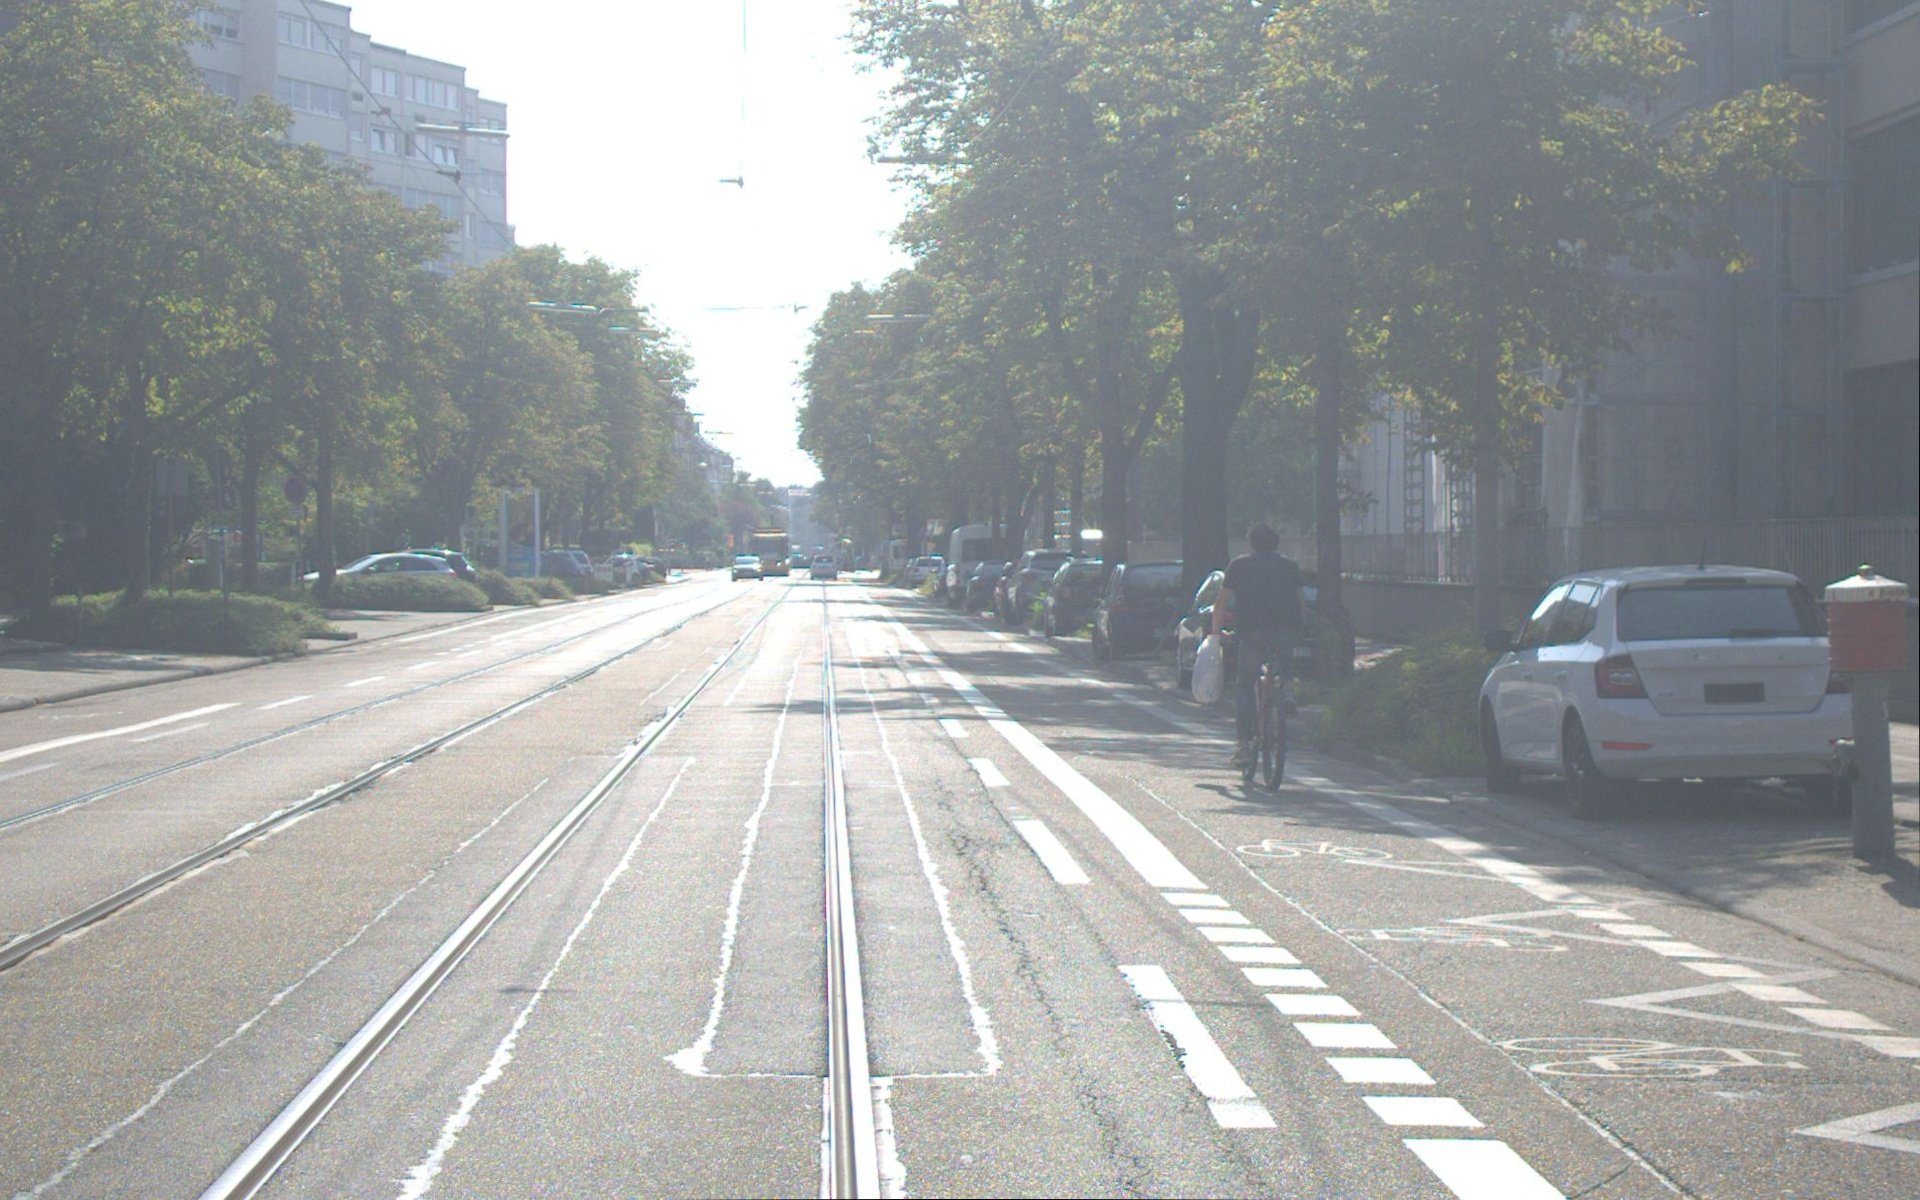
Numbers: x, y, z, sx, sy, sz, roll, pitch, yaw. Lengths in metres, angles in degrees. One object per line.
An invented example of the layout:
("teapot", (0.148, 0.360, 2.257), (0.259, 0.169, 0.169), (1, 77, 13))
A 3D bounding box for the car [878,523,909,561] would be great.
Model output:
("car", (-4.407, -3.797, 226.759), (2.004, 2.467, 4.477), (0, 1, -1))

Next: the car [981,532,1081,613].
("car", (1.510, -0.621, 74.372), (1.753, 1.685, 4.397), (1, 1, -4))

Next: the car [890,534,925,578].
("car", (-3.078, -2.542, 199.971), (2.004, 2.482, 4.477), (0, -1, -1))

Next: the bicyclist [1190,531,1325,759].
("bicyclist", (1.952, 0.284, 22.678), (0.787, 1.465, 1.116), (0, 0, 0))

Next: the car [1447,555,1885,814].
("car", (4.271, 0.460, 21.389), (1.640, 1.425, 3.990), (-1, 0, -4))

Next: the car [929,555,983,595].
("car", (-0.165, -0.913, 124.631), (1.753, 1.373, 4.719), (-2, 1, -2))

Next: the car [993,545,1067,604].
("car", (1.715, -0.640, 85.106), (1.616, 1.409, 4.000), (-1, 1, -2))

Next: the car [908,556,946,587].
("car", (-1.510, -1.317, 157.937), (1.689, 1.413, 3.634), (0, 1, -1))

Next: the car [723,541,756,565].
("car", (-12.805, -2.737, 199.841), (1.828, 1.371, 4.513), (-1, 1, -3))

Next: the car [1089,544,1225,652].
("car", (2.906, -0.052, 51.366), (1.646, 1.506, 3.778), (-2, 1, -2))

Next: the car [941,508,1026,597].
("car", (0.687, -1.438, 105.505), (2.082, 2.544, 5.502), (-4, 1, -4))

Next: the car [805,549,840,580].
("car", (-8.273, -2.153, 207.240), (1.993, 1.831, 4.000), (0, 1, -1))

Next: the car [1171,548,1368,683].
("car", (3.504, 0.138, 39.522), (1.646, 1.423, 4.085), (-2, 1, -3))

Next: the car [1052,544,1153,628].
("car", (2.633, -0.282, 64.231), (1.576, 1.479, 3.739), (-2, 1, -2))

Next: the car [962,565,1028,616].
("car", (0.948, -0.284, 95.258), (1.616, 1.369, 4.827), (-1, 1, -1))

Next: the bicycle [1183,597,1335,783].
("bicycle", (1.947, 0.562, 22.689), (0.787, 1.140, 2.305), (0, 1, 0))
